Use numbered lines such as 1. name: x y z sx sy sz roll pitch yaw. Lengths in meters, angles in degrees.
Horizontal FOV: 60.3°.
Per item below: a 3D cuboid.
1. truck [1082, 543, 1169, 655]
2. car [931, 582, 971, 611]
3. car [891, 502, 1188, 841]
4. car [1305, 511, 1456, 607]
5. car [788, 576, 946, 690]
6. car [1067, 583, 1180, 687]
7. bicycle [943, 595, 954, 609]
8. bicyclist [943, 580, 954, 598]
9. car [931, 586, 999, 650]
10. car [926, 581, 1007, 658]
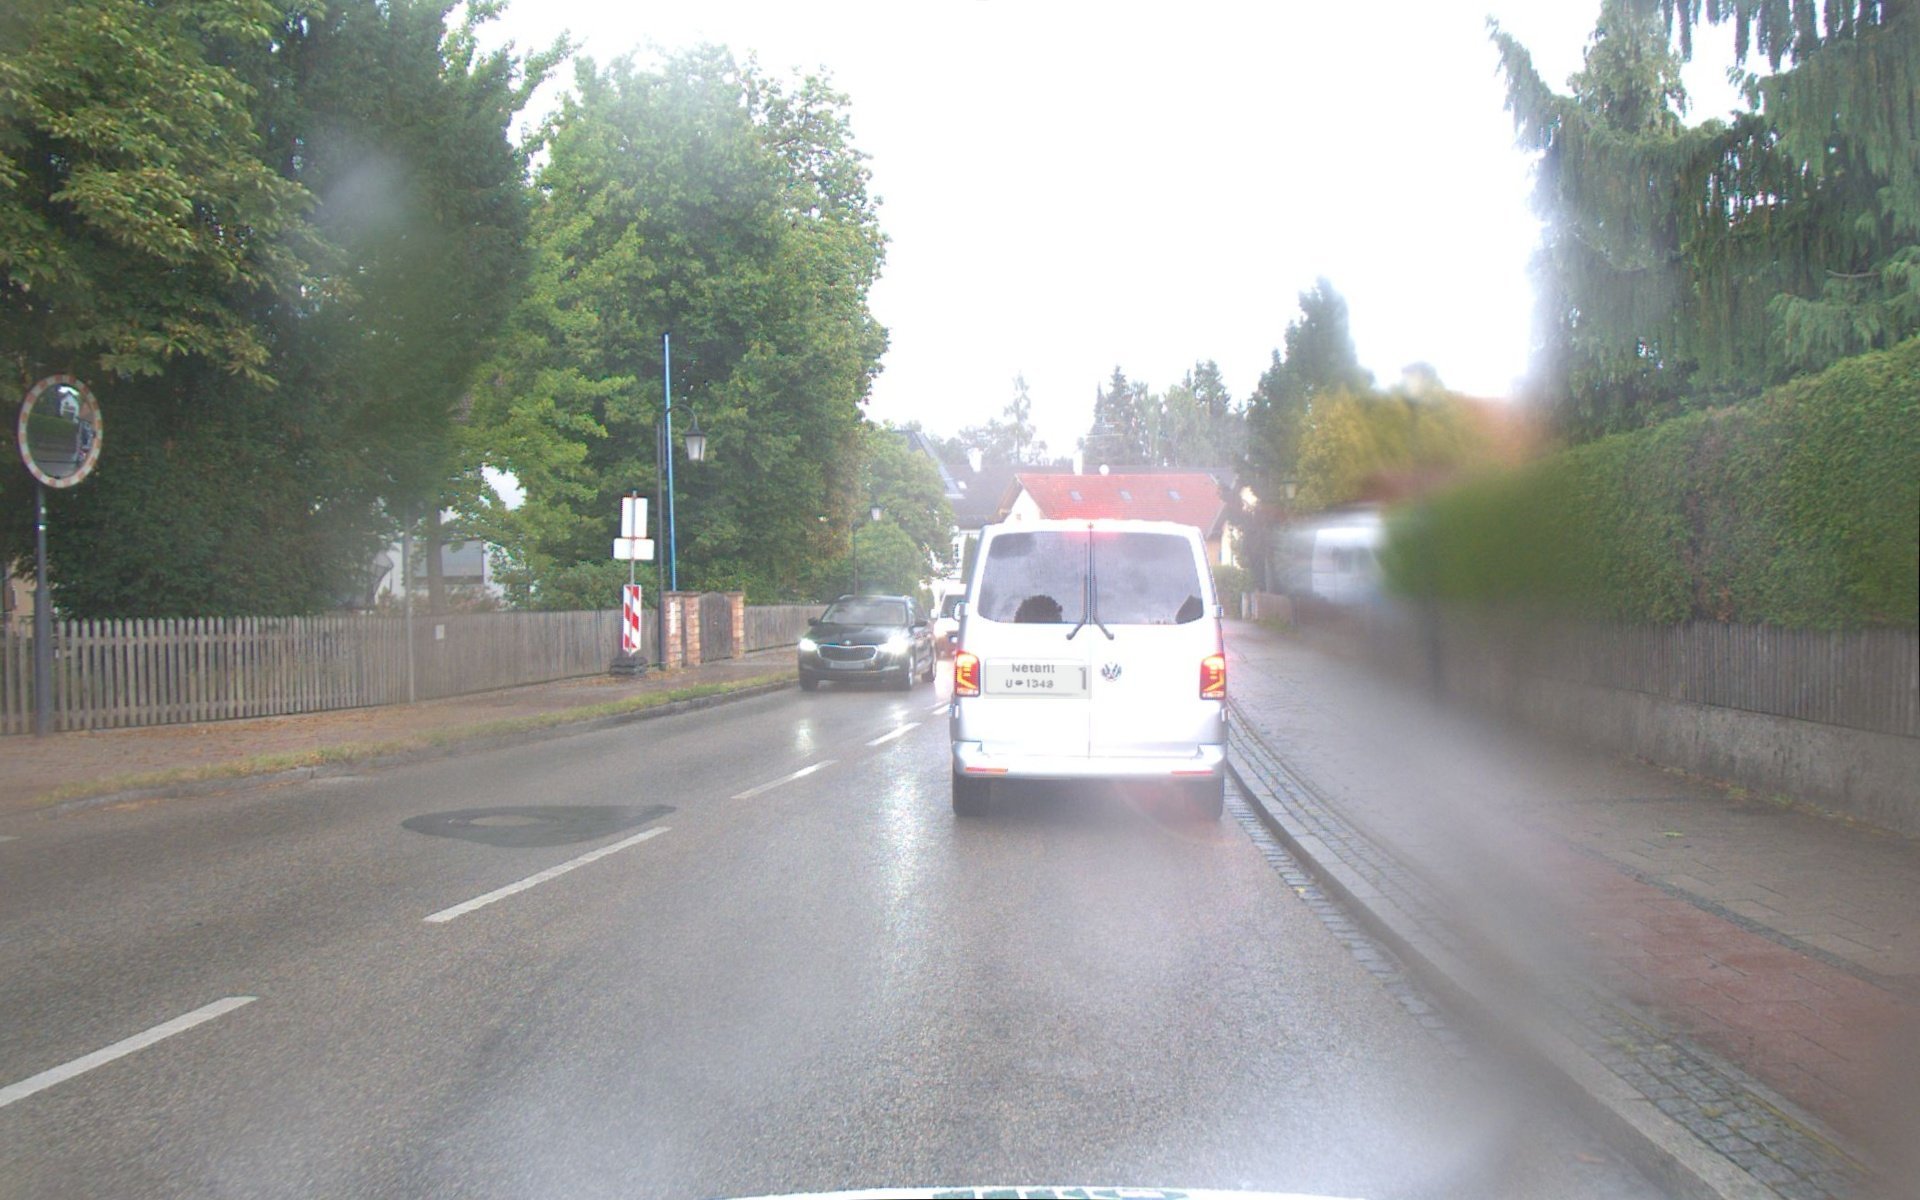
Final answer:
1. truck: 5.012 -0.002 50.169 2.423 3.128 6.300 1 0 6
2. car: -0.676 -0.244 120.036 1.961 2.049 3.984 1 -1 -15
3. car: 0.754 0.445 12.156 1.762 2.049 4.003 1 -1 8
4. car: 10.368 -0.946 41.179 1.956 2.211 4.945 1 0 -7
5. car: -1.418 0.506 26.934 1.746 1.692 4.449 0 -1 8
6. car: 2.781 0.573 28.230 1.762 1.616 4.002 1 0 6
7. bicycle: -0.681 0.127 96.568 0.446 0.812 1.978 0 0 6
8. bicyclist: -0.671 -0.613 96.541 0.575 1.039 1.061 0 0 5
9. car: 0.184 0.527 49.150 1.605 1.796 4.333 1 0 5
10. car: 0.214 0.472 41.459 1.605 1.796 4.333 1 0 5
